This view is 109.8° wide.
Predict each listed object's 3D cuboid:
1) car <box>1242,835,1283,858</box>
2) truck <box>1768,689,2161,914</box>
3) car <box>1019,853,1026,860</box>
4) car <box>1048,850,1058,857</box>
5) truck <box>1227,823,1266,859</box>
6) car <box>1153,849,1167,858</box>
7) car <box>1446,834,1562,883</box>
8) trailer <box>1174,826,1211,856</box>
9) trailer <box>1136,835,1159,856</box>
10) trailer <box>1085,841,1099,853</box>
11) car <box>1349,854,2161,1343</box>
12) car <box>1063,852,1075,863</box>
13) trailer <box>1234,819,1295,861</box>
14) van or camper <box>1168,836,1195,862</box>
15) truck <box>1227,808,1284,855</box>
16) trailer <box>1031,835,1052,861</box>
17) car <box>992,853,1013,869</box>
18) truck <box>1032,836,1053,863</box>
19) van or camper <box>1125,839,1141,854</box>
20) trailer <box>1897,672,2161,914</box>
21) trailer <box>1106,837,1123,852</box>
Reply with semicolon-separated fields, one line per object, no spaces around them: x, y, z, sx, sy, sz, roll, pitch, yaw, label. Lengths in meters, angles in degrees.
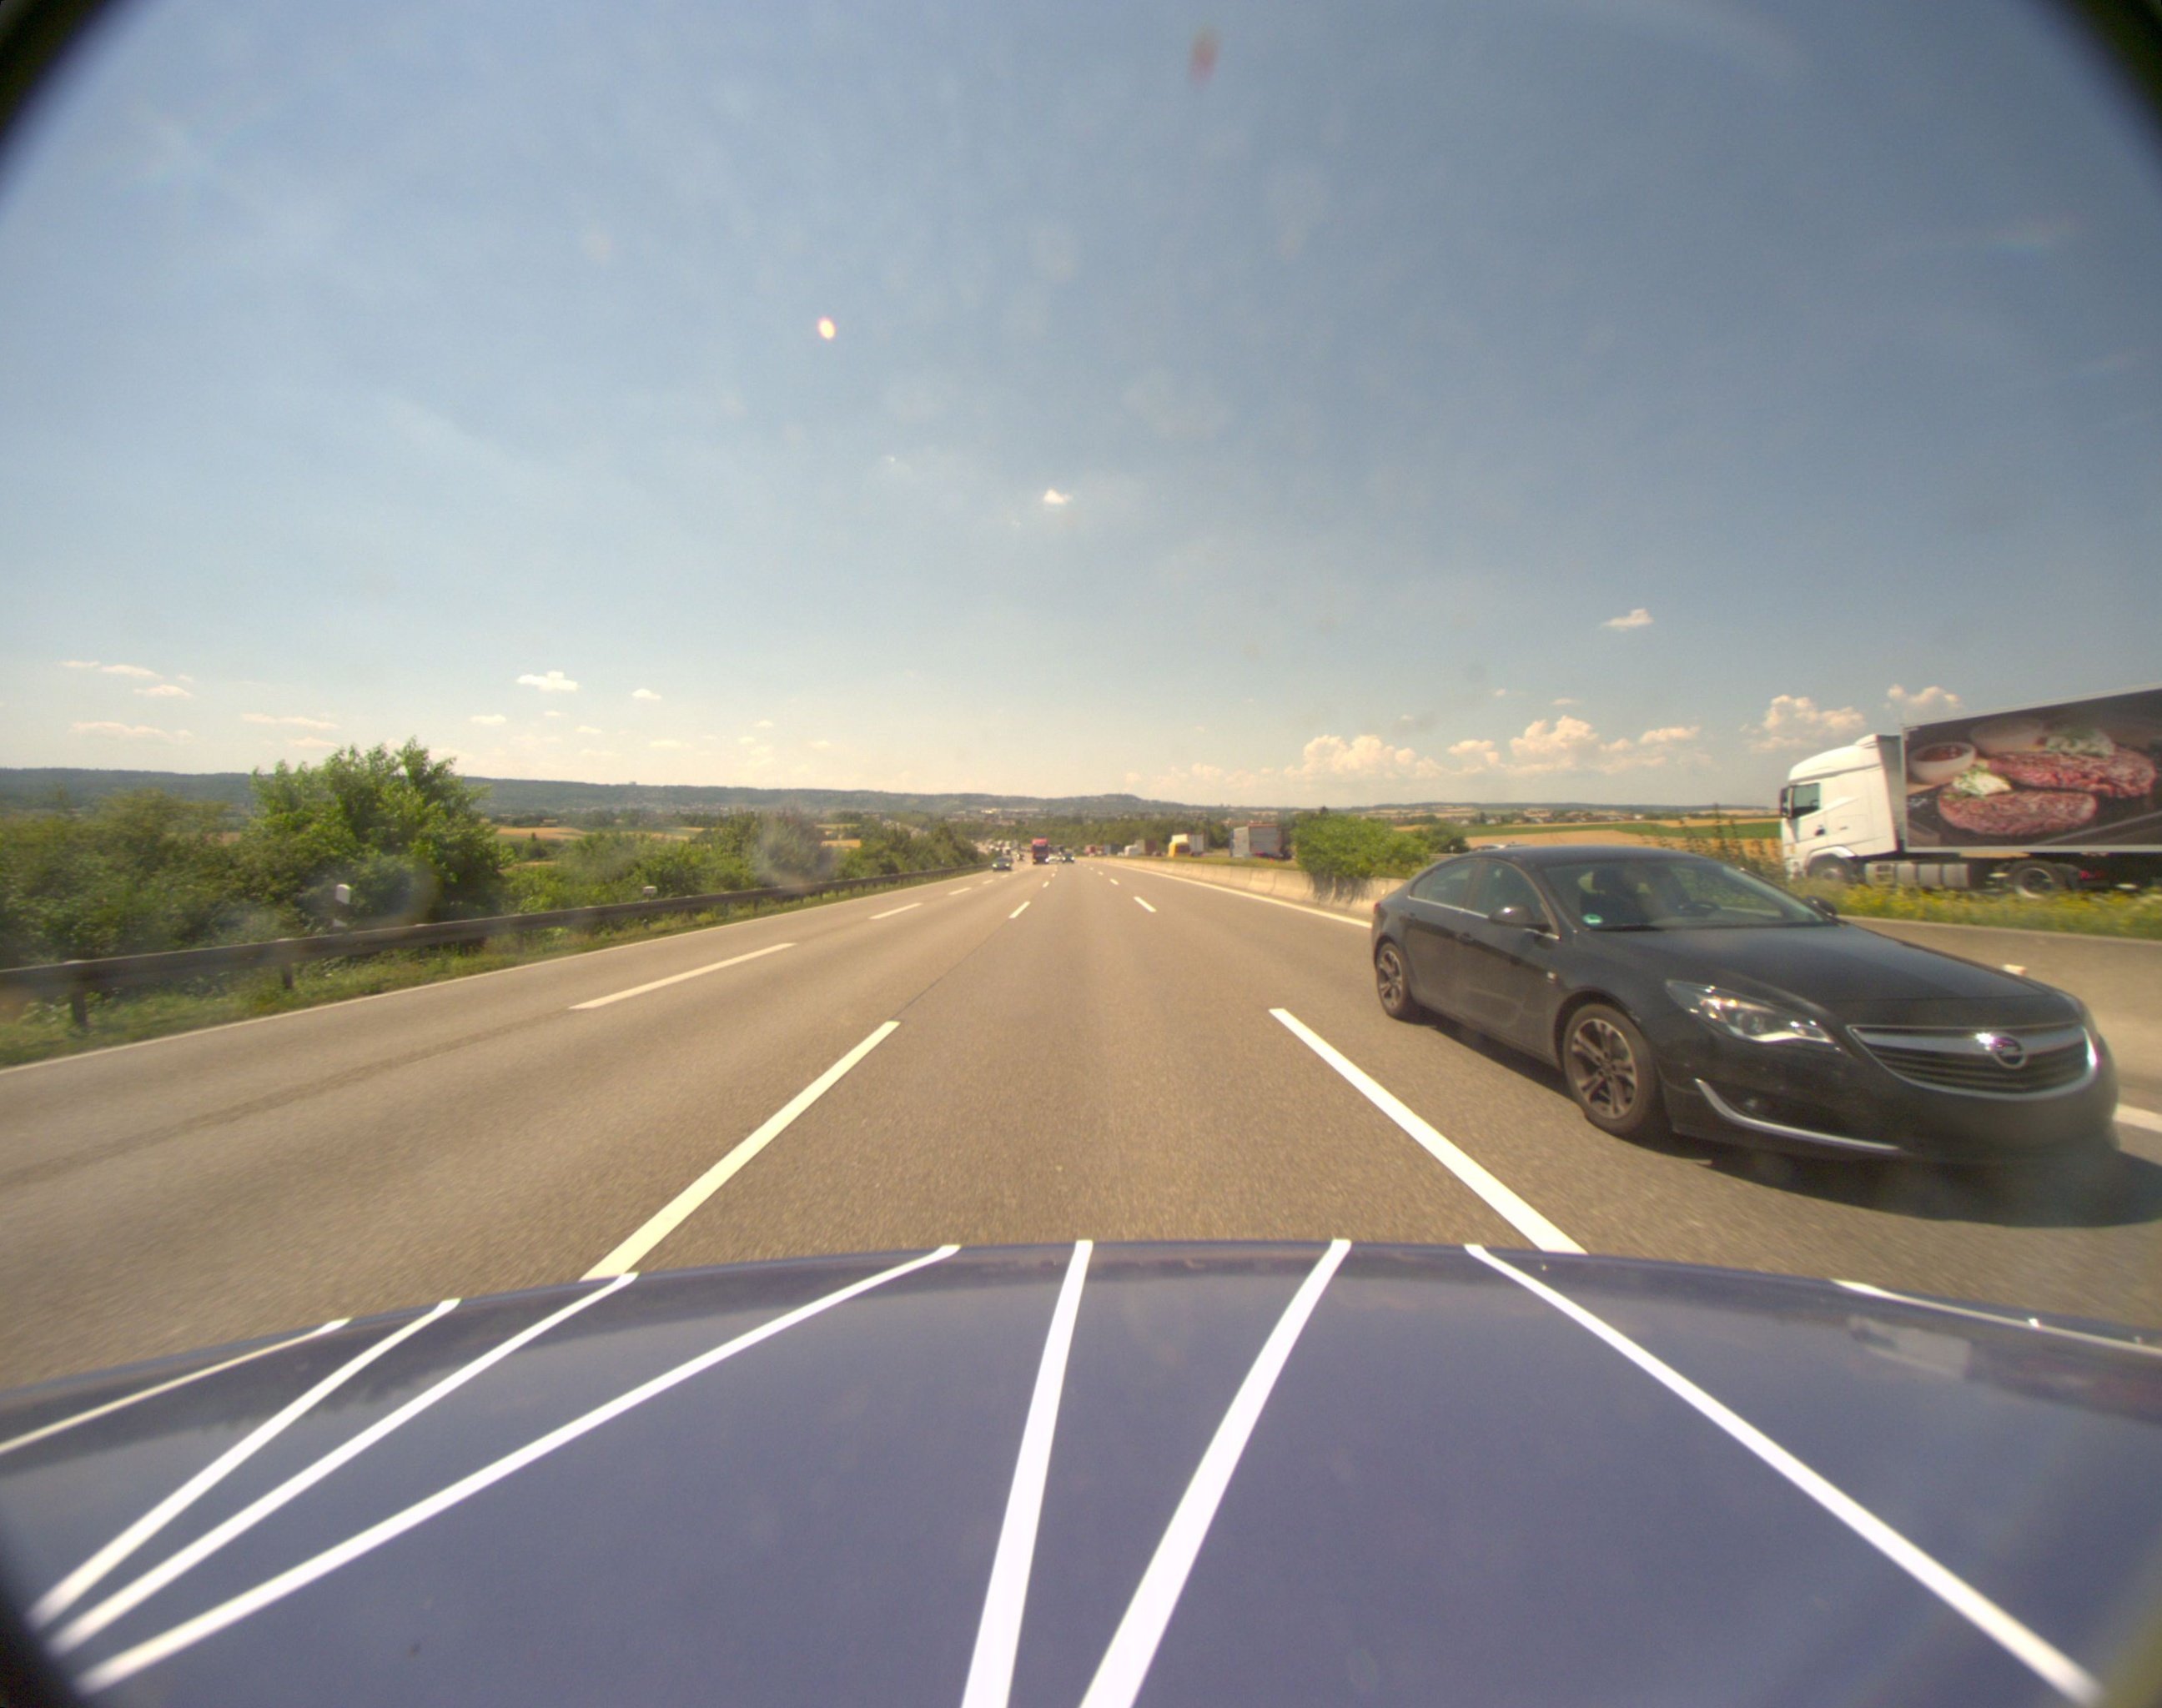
12.223;-0.518;51.372;1.791;1.459;3.999;-2;1;0;car
19.652;-1.008;16.929;2.860;4.004;6.514;-2;1;1;truck
-16.118;0.674;209.495;1.999;1.467;3.996;-3;3;-5;car
-7.009;-0.211;190.973;2.000;1.467;3.995;-3;3;-9;car
18.842;-1.432;86.840;2.783;3.915;6.136;-2;0;-2;truck
13.340;-0.078;129.156;1.824;1.471;4.501;-2;1;-1;car
15.360;0.135;27.857;1.999;1.569;3.999;-2;1;0;car
17.662;-1.949;121.461;3.251;4.362;14.023;-2;0;-2;trailer
14.657;-1.926;167.725;3.132;4.299;14.539;-2;1;-2;trailer
3.722;-2.580;270.342;3.095;4.077;14.371;-3;1;-6;trailer
3.511;0.807;4.888;1.808;1.534;4.748;-2;0;-1;car
-1.923;0.519;121.149;1.866;1.426;3.997;-2;3;-2;car
18.902;-1.415;79.393;2.846;3.935;13.724;-2;1;-1;trailer
11.032;-0.520;83.903;2.089;2.692;6.138;-2;0;0;van or camper
15.029;-1.814;66.029;2.943;3.721;7.778;-2;0;-1;truck
-6.802;-1.139;128.693;2.927;4.094;13.848;-3;2;-4;trailer
-8.182;0.685;79.117;2.038;1.543;3.998;-2;0;-5;car
-6.252;-0.763;122.077;2.925;3.986;6.506;-3;2;-5;truck
9.107;-1.361;134.200;2.073;2.449;7.517;-1;1;-2;van or camper
19.557;-1.040;10.007;2.800;4.081;14.006;-2;1;1;trailer
9.810;-2.873;224.131;3.170;4.170;14.372;-3;1;-4;trailer
